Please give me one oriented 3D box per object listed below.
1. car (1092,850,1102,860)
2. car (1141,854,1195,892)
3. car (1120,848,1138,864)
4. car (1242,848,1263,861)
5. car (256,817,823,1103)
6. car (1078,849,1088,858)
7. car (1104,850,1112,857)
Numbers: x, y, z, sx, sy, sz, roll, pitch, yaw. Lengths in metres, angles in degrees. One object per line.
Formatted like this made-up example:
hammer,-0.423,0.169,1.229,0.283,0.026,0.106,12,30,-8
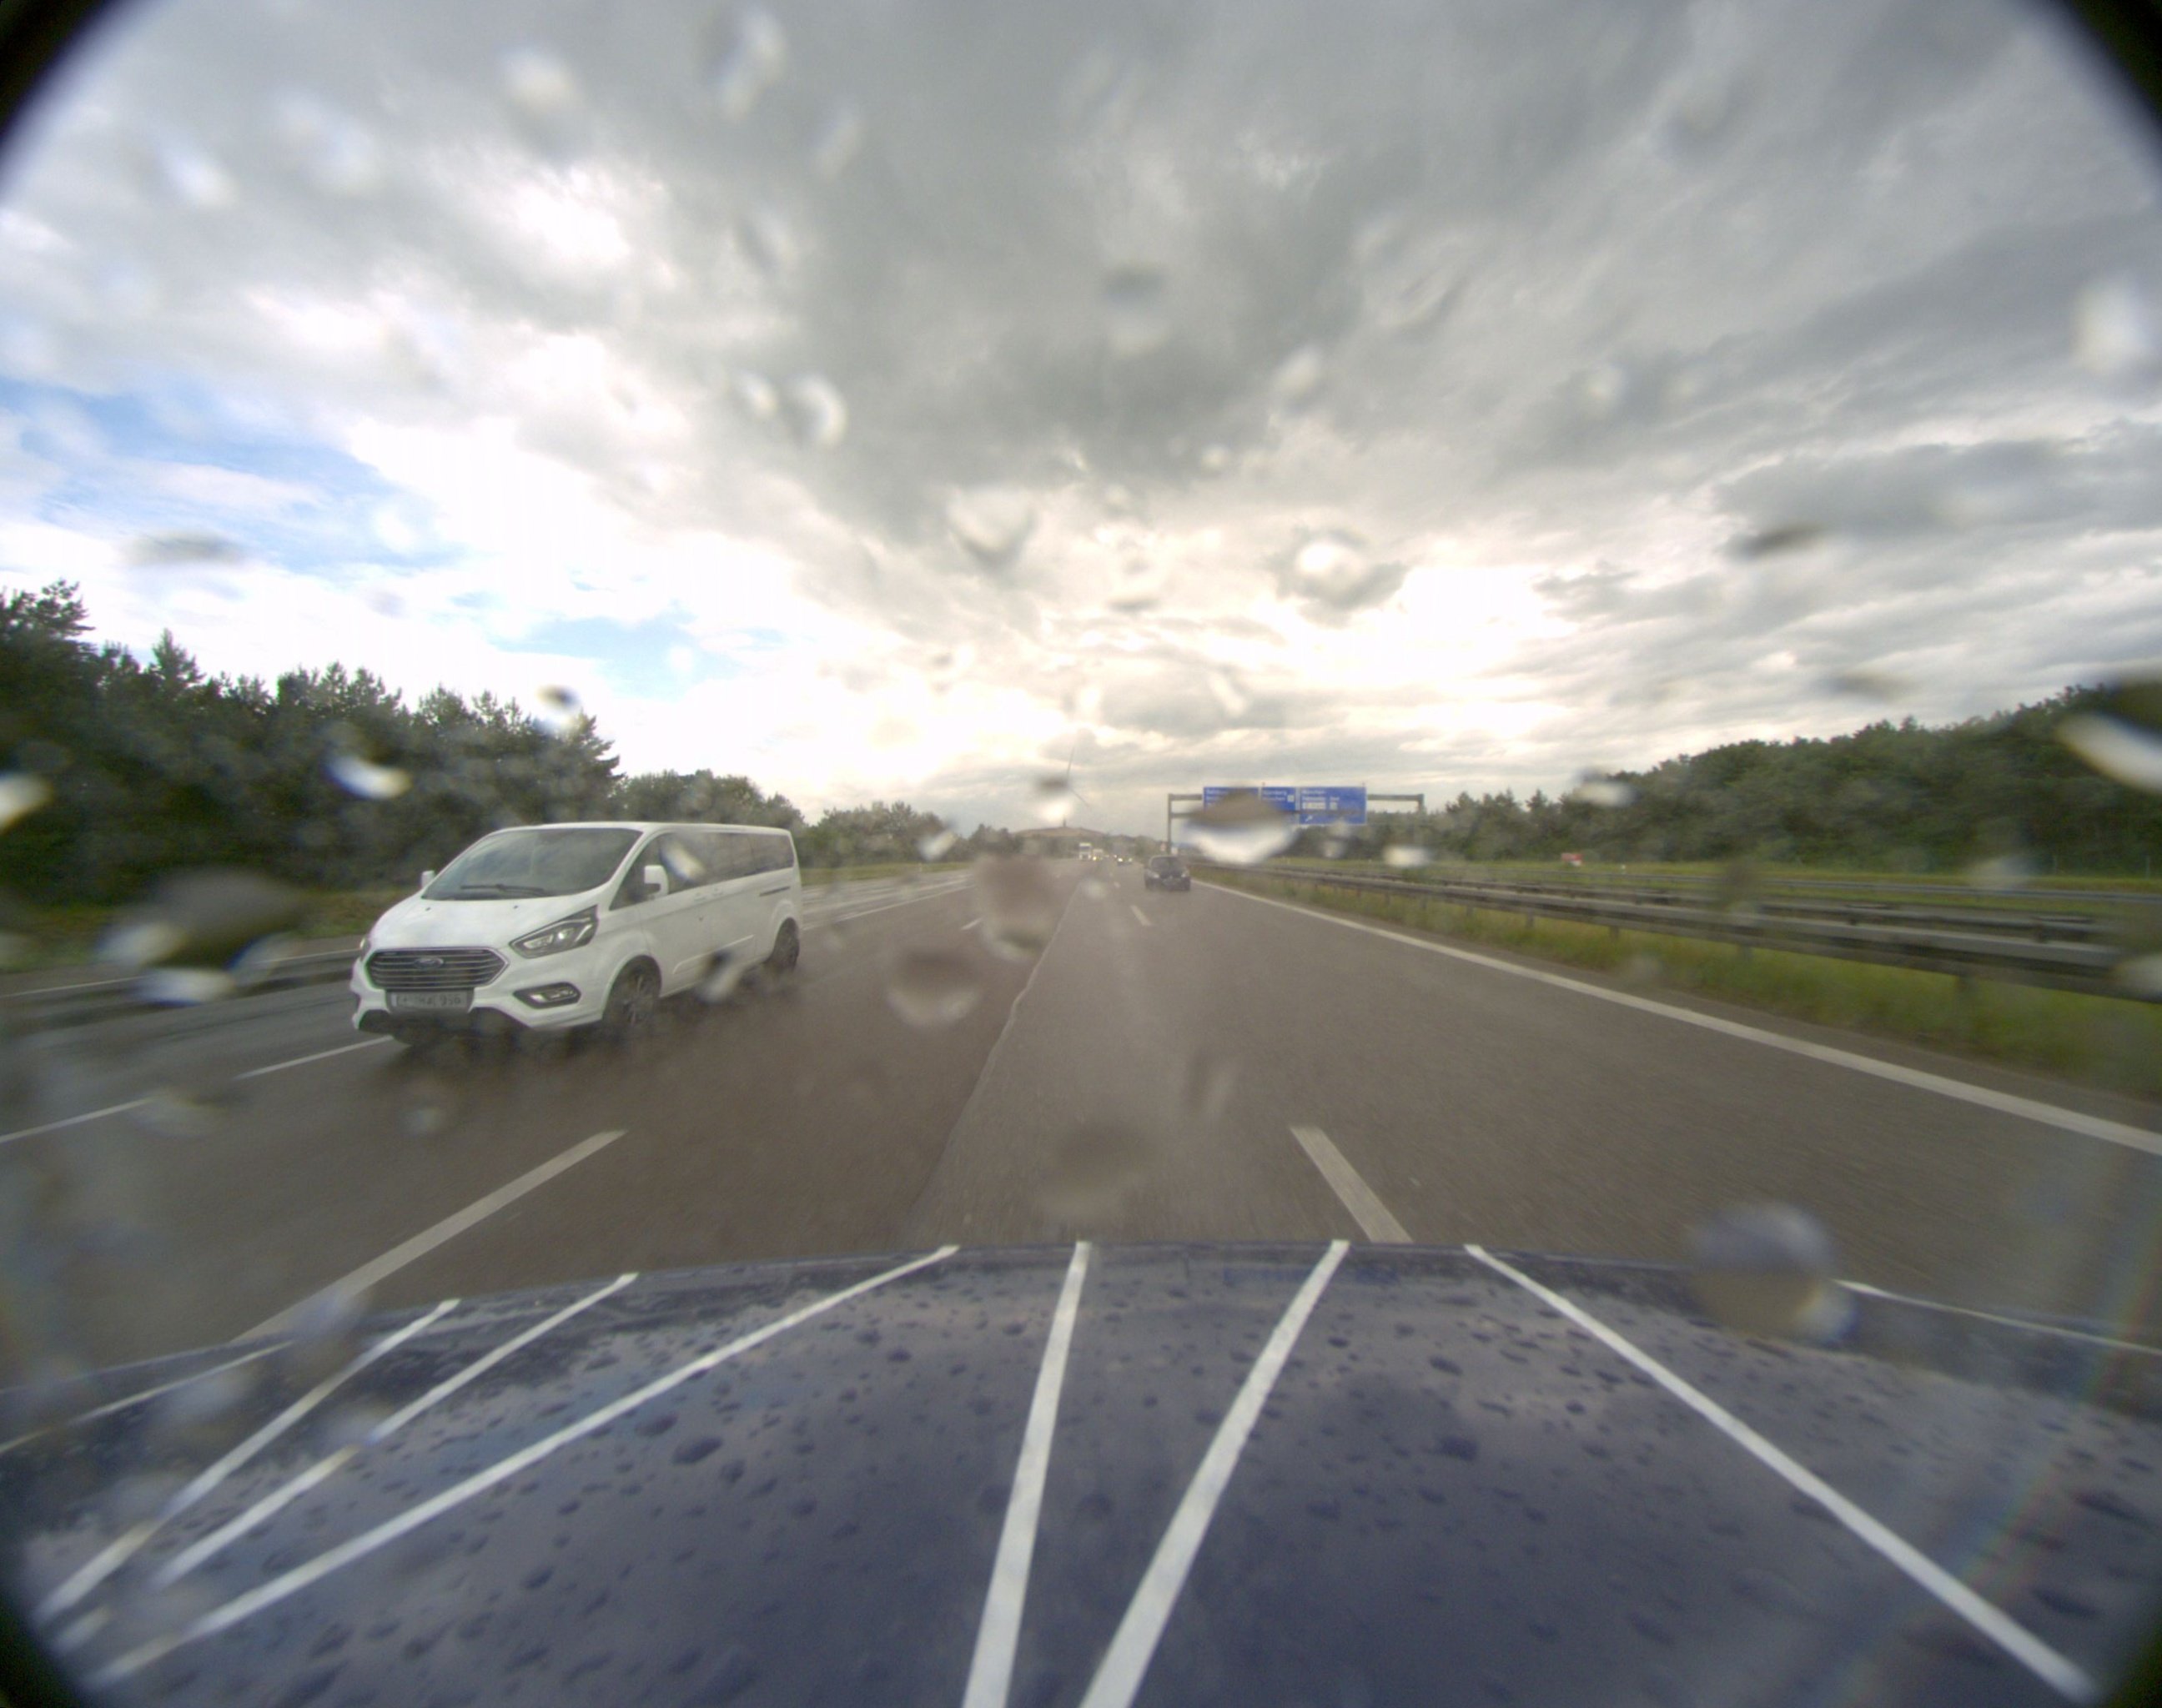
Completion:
car,3.171,0.218,151.708,1.999,2.002,3.999,0,1,-1
car,3.504,0.727,31.301,1.810,1.321,4.431,-2,1,2
car,6.053,0.243,96.391,1.998,2.002,4.000,-2,1,1
car,21.278,0.101,94.310,1.723,1.565,4.000,0,0,1
car,-4.808,0.753,8.180,1.998,2.002,5.483,-2,0,2
car,0.468,-0.144,170.262,1.999,2.002,3.999,0,1,-1
car,7.506,-0.134,210.027,1.999,2.002,3.999,0,1,-1
